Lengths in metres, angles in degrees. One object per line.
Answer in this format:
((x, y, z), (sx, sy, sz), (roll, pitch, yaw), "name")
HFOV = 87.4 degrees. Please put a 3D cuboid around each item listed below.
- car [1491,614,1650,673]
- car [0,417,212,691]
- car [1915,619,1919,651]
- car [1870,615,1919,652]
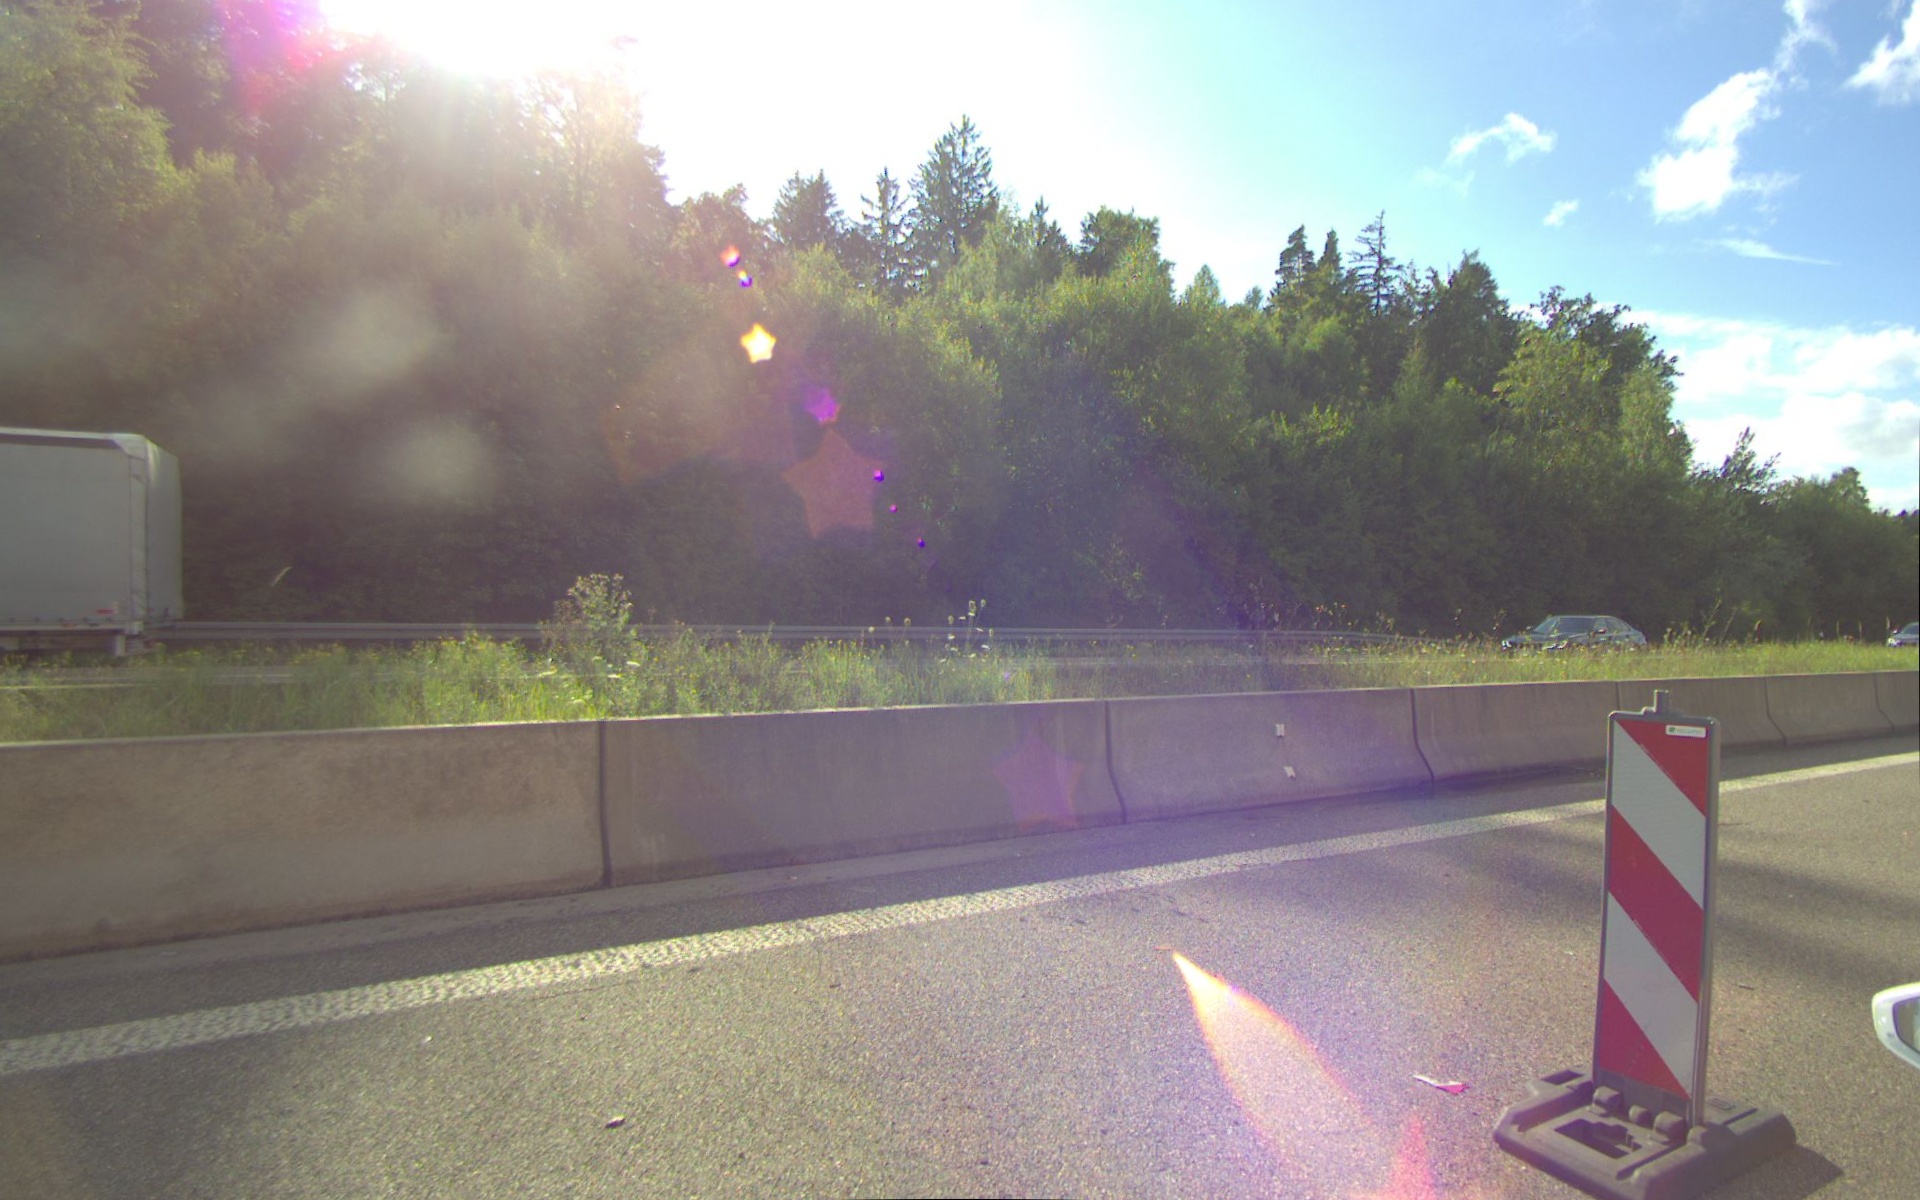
((16.216, 1.155, 26.631), (4.260, 1.406, 1.771), (2, 0, -30), "car")
((-14.239, -0.644, 12.668), (7.366, 3.415, 2.474), (2, 0, -31), "car")
((64.337, 2.341, 65.473), (3.953, 2.040, 1.984), (2, 0, -30), "car")
((37.957, 1.351, 39.557), (4.237, 1.381, 1.949), (2, 0, -30), "car")
